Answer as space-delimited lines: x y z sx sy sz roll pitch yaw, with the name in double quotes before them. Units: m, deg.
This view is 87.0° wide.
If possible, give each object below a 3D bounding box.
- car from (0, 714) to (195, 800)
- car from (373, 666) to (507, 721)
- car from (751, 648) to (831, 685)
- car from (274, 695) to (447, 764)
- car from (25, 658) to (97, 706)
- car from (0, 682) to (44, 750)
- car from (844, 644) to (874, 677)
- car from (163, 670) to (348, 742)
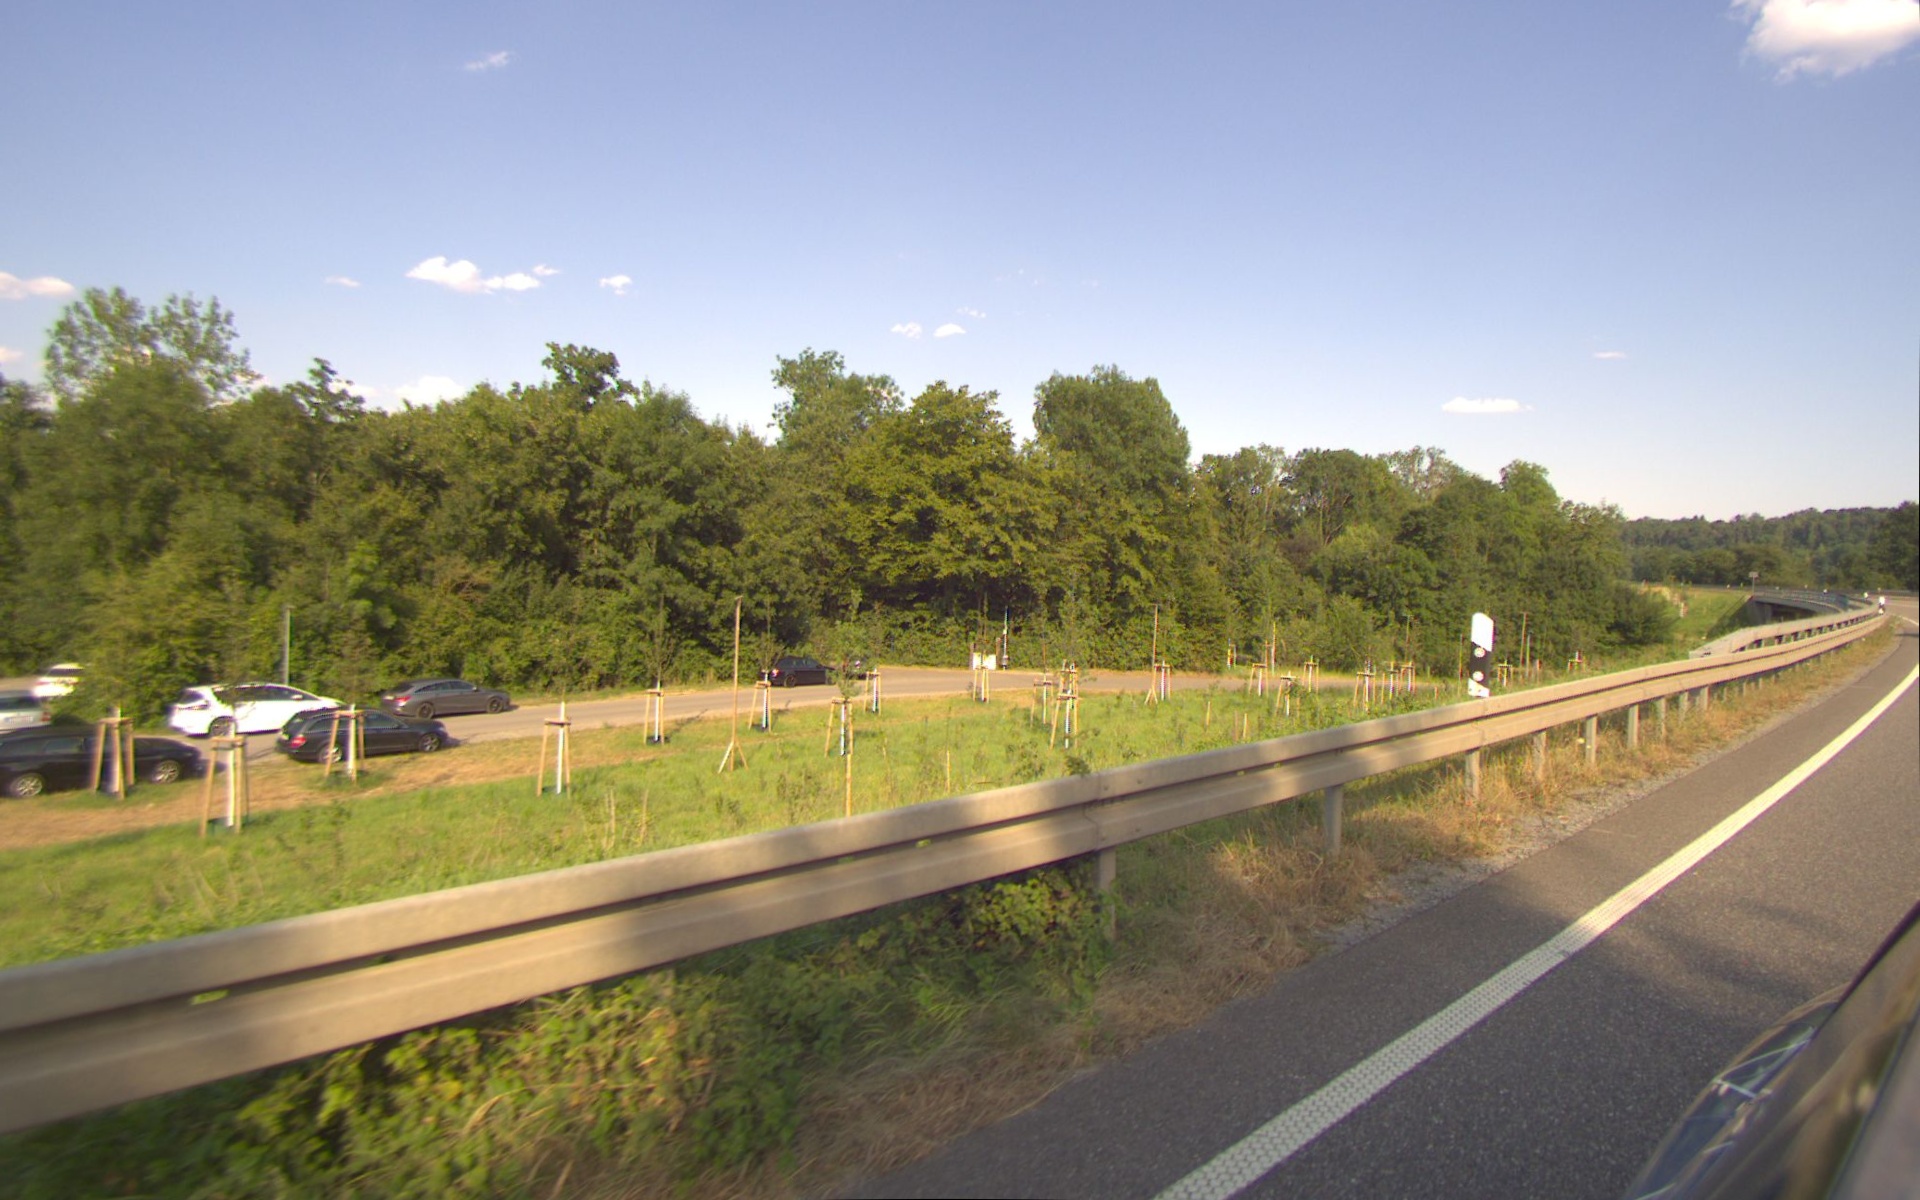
"car" -21.849 3.829 25.109 1.811 1.419 4.207 3 2 32
"car" -19.127 3.390 37.394 1.649 1.515 4.172 1 2 34
"car" -8.521 3.339 51.178 1.654 1.515 3.769 2 2 43
"car" -17.910 3.803 30.396 1.652 1.515 4.162 2 0 39
"car" -34.820 3.122 39.155 4.232 1.474 1.686 2 0 43
"car" -28.620 3.433 30.226 4.234 1.474 1.592 3 1 44
"car" -5.605 3.354 56.422 1.627 1.515 3.689 0 2 -5
"car" -22.666 3.336 32.747 1.651 1.687 4.645 1 2 37
